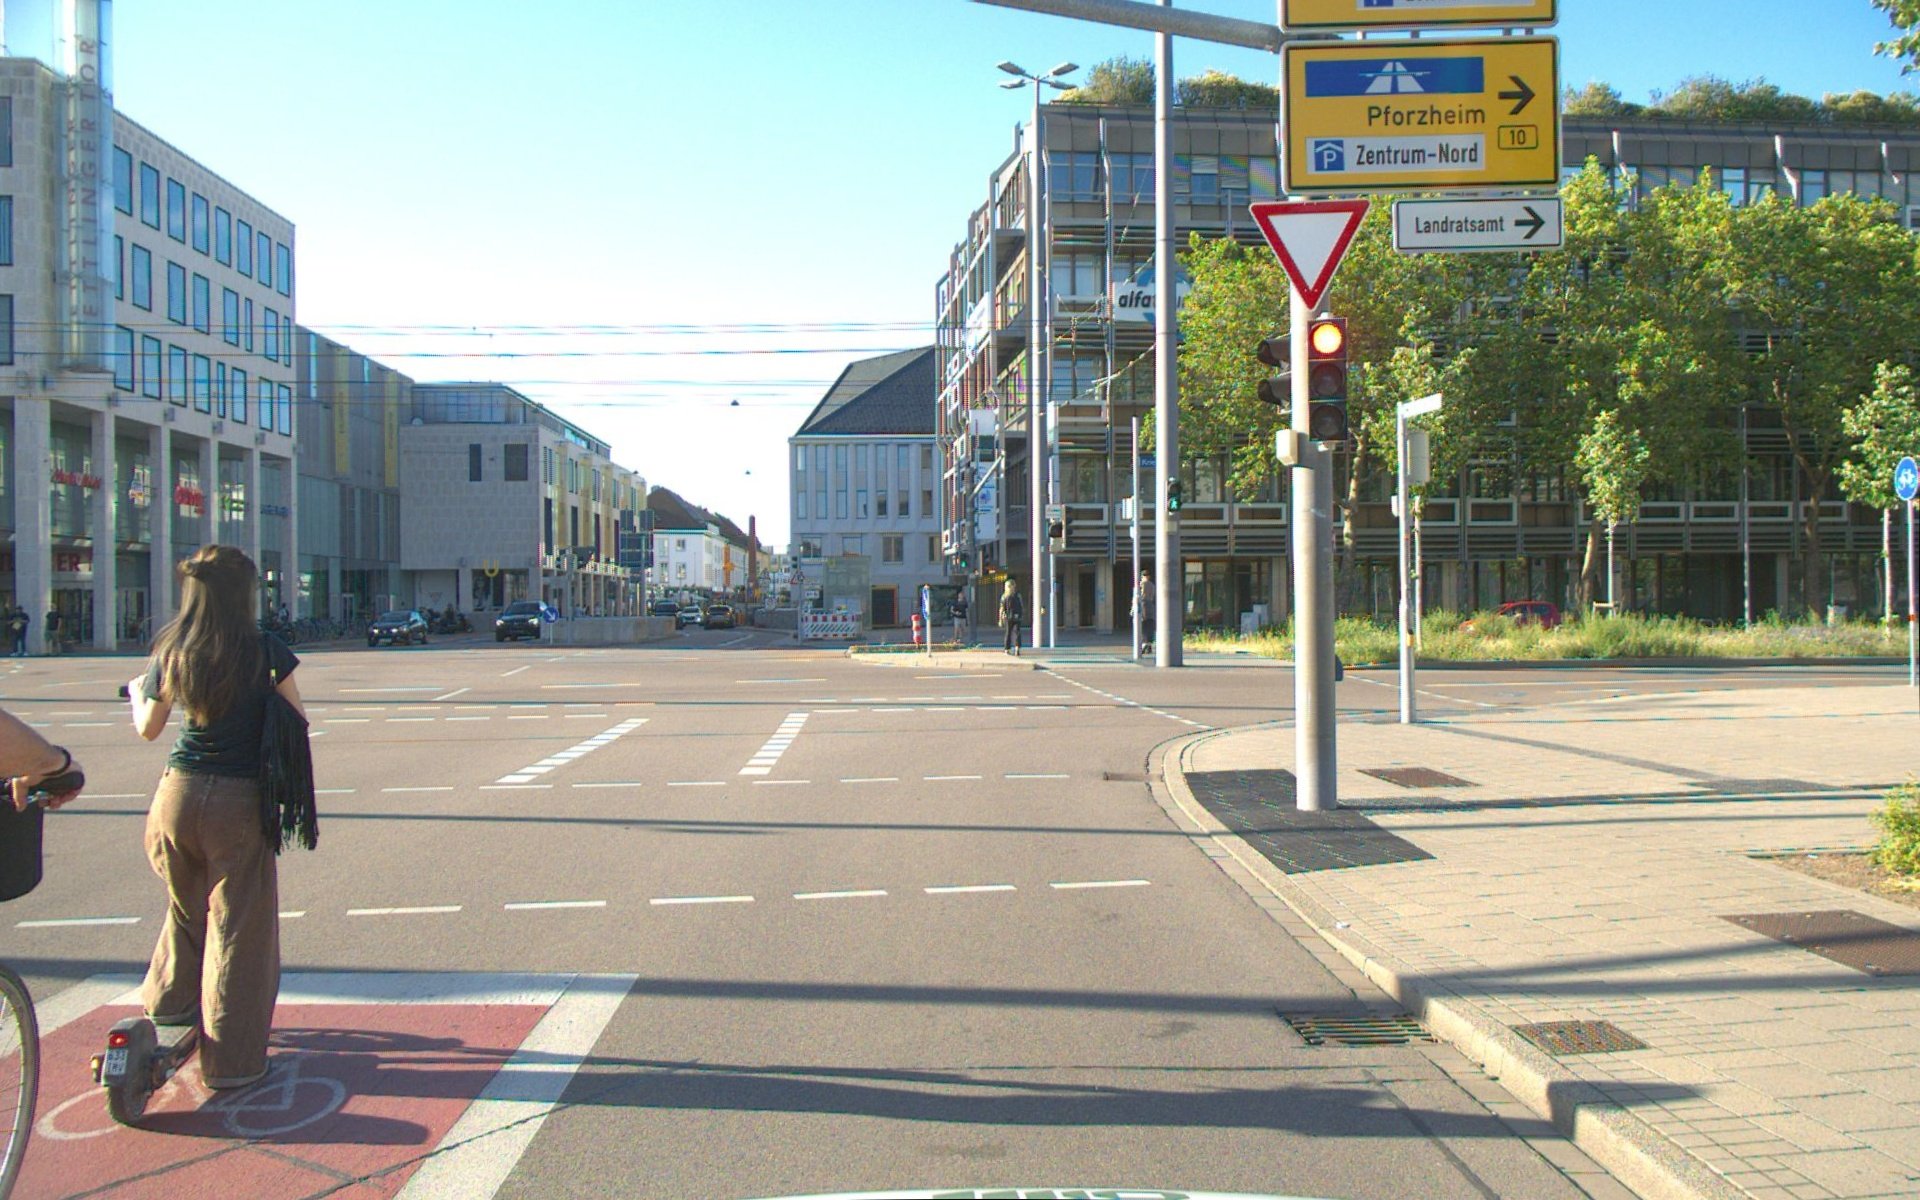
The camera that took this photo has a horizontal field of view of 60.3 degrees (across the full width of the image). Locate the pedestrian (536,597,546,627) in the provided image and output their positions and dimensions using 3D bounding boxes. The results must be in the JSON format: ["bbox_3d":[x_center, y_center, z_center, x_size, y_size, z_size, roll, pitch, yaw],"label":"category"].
[{"bbox_3d":[-29.404,0.849,116.061,0.606,2.049,0.476,1,-1,-16],"label":"pedestrian"}]

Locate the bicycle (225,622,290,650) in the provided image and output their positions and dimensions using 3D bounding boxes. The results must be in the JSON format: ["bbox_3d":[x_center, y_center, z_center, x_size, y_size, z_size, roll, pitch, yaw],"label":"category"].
[{"bbox_3d":[-29.483,1.509,69.450,2.417,1.130,0.684,-1,0,-1],"label":"bicycle"}]

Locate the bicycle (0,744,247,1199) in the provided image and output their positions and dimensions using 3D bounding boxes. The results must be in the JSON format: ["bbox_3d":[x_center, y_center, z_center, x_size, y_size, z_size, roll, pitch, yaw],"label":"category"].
[{"bbox_3d":[-1.972,0.897,2.932,0.692,1.113,1.799,-1,0,-2],"label":"bicycle"}]

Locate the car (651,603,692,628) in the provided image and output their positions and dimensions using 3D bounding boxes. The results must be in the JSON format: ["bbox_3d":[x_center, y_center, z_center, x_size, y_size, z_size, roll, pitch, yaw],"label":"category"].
[{"bbox_3d":[-20.784,1.124,119.286,2.130,1.722,5.485,0,-1,-1],"label":"car"}]

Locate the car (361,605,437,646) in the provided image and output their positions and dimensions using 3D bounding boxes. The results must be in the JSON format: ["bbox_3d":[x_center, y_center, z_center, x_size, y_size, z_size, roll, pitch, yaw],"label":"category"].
[{"bbox_3d":[-23.580,1.044,69.665,1.899,1.608,4.292,-1,0,-3],"label":"car"}]

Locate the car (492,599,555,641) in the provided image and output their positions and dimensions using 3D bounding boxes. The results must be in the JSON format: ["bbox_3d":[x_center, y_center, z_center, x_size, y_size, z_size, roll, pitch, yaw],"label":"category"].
[{"bbox_3d":[-18.658,0.844,70.825,1.900,1.707,4.289,-1,0,-5],"label":"car"}]

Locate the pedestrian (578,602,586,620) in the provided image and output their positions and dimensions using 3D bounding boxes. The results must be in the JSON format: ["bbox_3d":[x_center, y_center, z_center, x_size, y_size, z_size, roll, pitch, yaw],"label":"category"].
[{"bbox_3d":[-29.128,0.819,127.429,0.479,1.380,0.563,1,-1,-7],"label":"pedestrian"}]

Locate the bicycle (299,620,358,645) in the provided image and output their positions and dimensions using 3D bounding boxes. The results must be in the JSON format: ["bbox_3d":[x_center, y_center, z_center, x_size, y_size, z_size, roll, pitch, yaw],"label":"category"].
[{"bbox_3d":[-29.702,1.524,77.776,2.417,1.130,0.835,-1,0,0],"label":"bicycle"}]

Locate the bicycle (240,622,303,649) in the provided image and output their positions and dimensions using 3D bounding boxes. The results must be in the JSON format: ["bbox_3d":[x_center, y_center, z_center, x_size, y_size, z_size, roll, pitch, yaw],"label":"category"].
[{"bbox_3d":[-29.462,1.504,70.815,2.416,1.130,0.684,-1,0,1],"label":"bicycle"}]

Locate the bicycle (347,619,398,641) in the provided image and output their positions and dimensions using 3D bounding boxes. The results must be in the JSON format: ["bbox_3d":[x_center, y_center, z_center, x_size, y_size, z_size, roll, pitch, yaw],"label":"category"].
[{"bbox_3d":[-30.453,1.561,85.740,2.417,1.130,0.631,-1,0,0],"label":"bicycle"}]

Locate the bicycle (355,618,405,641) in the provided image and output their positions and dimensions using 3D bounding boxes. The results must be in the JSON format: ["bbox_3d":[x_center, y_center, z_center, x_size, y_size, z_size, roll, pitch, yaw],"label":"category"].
[{"bbox_3d":[-30.429,1.553,86.797,2.417,1.130,0.660,-1,0,0],"label":"bicycle"}]

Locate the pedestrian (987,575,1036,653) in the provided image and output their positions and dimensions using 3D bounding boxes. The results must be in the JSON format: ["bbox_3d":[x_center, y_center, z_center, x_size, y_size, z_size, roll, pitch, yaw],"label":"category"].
[{"bbox_3d":[1.070,0.284,34.424,0.879,1.576,0.922,-1,1,-7],"label":"pedestrian"}]

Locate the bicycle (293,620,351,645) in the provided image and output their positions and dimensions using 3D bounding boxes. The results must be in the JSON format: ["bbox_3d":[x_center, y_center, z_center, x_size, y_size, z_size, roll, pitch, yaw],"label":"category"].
[{"bbox_3d":[-29.676,1.521,76.972,2.417,1.130,0.684,-1,0,0],"label":"bicycle"}]

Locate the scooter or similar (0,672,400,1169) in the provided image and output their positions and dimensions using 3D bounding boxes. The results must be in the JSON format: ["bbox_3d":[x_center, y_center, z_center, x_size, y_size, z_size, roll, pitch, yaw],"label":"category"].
[{"bbox_3d":[-2.211,0.850,4.964,0.629,1.196,1.482,1,0,-4],"label":"scooter or similar"}]

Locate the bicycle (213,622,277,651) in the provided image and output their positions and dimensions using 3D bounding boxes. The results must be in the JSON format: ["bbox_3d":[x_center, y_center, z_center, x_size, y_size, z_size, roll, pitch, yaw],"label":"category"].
[{"bbox_3d":[-29.437,1.509,68.104,2.354,1.132,0.658,-1,0,-1],"label":"bicycle"}]

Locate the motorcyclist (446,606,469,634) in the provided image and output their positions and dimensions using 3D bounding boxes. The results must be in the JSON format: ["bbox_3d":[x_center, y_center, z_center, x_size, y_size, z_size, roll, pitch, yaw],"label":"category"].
[{"bbox_3d":[-29.580,1.167,97.357,1.115,1.602,0.915,1,-1,-8],"label":"motorcyclist"}]

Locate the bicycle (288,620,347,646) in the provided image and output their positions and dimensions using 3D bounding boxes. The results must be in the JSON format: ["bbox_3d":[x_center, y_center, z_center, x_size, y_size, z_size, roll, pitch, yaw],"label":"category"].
[{"bbox_3d":[-29.601,1.527,76.197,2.417,1.130,0.684,-1,0,0],"label":"bicycle"}]

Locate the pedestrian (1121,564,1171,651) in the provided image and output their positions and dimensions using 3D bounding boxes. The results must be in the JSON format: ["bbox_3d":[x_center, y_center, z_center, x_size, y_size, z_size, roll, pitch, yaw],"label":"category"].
[{"bbox_3d":[3.836,0.143,34.158,0.839,1.774,0.738,-1,1,-9],"label":"pedestrian"}]

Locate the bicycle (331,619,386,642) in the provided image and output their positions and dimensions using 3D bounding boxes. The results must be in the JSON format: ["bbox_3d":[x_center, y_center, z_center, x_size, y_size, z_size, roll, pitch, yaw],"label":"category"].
[{"bbox_3d":[-30.307,1.548,83.351,2.417,1.130,0.835,-1,0,0],"label":"bicycle"}]

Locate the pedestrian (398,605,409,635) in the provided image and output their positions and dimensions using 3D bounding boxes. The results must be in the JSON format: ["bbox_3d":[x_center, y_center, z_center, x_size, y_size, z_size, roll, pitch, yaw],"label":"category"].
[{"bbox_3d":[-37.905,1.367,112.683,0.606,2.049,0.476,1,-1,-16],"label":"pedestrian"}]

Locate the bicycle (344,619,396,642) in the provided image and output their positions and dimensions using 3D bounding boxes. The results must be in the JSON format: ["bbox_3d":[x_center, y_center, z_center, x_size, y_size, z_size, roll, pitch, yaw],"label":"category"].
[{"bbox_3d":[-30.304,1.550,85.013,2.417,1.130,0.660,-1,0,0],"label":"bicycle"}]

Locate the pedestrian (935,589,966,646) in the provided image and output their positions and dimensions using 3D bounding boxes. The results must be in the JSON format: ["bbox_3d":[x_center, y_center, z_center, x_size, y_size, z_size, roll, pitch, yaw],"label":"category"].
[{"bbox_3d":[-0.309,0.606,57.038,0.990,1.944,1.051,0,0,3],"label":"pedestrian"}]

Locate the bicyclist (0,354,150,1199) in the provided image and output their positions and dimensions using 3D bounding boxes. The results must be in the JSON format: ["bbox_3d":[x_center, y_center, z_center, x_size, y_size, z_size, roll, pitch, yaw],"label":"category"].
[{"bbox_3d":[-1.982,0.432,2.959,0.685,1.698,0.786,-1,0,-3],"label":"bicyclist"}]

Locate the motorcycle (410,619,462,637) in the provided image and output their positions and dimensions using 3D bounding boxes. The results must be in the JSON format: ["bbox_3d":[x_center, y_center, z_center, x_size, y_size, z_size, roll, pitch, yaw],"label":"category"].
[{"bbox_3d":[-29.737,1.583,93.887,2.617,1.013,0.915,1,0,-8],"label":"motorcycle"}]

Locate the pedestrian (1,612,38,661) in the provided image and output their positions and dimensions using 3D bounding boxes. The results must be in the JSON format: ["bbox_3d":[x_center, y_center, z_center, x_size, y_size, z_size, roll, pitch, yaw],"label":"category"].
[{"bbox_3d":[-33.017,1.260,58.046,0.998,1.680,0.935,0,0,-41],"label":"pedestrian"}]

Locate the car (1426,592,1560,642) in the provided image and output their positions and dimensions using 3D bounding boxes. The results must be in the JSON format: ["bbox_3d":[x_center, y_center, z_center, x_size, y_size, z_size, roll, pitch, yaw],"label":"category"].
[{"bbox_3d":[17.680,0.563,54.918,3.794,1.512,1.843,-1,-3,-8],"label":"car"}]

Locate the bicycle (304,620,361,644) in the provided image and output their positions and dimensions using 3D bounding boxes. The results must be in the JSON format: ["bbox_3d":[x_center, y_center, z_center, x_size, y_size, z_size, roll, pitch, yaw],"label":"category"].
[{"bbox_3d":[-30.347,1.529,79.990,2.417,1.130,0.835,-1,0,0],"label":"bicycle"}]

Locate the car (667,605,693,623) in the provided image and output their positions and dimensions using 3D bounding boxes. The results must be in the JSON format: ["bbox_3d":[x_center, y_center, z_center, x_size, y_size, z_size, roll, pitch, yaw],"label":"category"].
[{"bbox_3d":[-29.109,1.454,172.083,2.131,1.906,5.609,0,-1,-5],"label":"car"}]

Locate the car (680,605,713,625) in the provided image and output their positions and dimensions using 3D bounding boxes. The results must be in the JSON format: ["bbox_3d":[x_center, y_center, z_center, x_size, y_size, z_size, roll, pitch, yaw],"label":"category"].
[{"bbox_3d":[-22.637,1.312,142.308,2.130,1.722,5.612,0,-1,-3],"label":"car"}]

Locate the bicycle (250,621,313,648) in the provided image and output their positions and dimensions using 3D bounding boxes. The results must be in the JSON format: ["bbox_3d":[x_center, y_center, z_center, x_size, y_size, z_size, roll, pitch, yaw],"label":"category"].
[{"bbox_3d":[-29.382,1.494,71.625,2.417,1.130,0.684,-1,0,0],"label":"bicycle"}]

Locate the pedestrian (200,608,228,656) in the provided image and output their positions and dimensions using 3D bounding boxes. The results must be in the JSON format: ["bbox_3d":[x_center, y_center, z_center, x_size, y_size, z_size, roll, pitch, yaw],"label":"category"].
[{"bbox_3d":[-27.753,1.193,61.542,0.736,1.770,0.756,0,0,-3],"label":"pedestrian"}]

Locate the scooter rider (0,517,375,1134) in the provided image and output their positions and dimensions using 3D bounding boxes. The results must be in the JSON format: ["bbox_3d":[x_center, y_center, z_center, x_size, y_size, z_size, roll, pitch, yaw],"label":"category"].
[{"bbox_3d":[-2.184,0.575,4.788,0.629,1.571,1.116,1,0,-4],"label":"scooter rider"}]

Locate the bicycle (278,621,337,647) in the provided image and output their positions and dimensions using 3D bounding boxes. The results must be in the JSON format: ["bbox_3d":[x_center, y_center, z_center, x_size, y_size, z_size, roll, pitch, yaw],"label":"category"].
[{"bbox_3d":[-29.573,1.521,74.972,2.417,1.130,0.593,-1,0,0],"label":"bicycle"}]

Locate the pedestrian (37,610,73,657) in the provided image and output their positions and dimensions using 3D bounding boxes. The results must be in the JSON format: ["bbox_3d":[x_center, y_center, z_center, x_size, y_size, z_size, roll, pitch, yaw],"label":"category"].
[{"bbox_3d":[-31.262,1.153,57.159,0.938,1.598,0.829,0,0,-42],"label":"pedestrian"}]

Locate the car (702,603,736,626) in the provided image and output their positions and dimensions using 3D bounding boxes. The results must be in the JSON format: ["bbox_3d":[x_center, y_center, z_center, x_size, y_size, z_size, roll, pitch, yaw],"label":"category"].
[{"bbox_3d":[-15.749,0.977,108.042,1.898,1.475,4.258,0,-1,-4],"label":"car"}]

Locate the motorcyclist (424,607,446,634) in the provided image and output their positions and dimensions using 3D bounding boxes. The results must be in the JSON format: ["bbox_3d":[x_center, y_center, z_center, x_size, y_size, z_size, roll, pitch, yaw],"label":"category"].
[{"bbox_3d":[-29.810,1.176,93.868,1.017,1.497,0.915,1,0,-8],"label":"motorcyclist"}]

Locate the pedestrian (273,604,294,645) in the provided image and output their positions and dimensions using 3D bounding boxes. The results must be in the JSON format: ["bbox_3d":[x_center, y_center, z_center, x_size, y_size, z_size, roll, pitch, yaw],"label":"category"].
[{"bbox_3d":[-33.531,1.205,81.987,0.933,2.017,1.000,0,0,-25],"label":"pedestrian"}]

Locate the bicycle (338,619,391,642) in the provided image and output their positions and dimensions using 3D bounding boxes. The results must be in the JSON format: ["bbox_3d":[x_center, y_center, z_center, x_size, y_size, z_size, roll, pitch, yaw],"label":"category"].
[{"bbox_3d":[-30.330,1.541,84.236,2.417,1.130,0.660,-1,0,0],"label":"bicycle"}]

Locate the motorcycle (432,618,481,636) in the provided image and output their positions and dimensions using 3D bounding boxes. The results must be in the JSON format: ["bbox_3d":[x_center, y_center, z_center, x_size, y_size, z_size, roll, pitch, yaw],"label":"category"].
[{"bbox_3d":[-29.610,1.600,97.338,2.617,1.013,0.915,1,0,-8],"label":"motorcycle"}]

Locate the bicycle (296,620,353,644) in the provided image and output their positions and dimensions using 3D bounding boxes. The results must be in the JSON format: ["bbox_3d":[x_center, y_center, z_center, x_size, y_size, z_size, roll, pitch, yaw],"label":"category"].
[{"bbox_3d":[-30.234,1.525,78.741,2.417,1.130,0.684,-1,0,0],"label":"bicycle"}]

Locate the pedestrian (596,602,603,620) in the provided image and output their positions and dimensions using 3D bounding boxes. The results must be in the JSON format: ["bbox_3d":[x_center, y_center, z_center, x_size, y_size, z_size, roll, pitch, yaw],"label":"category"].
[{"bbox_3d":[-27.854,0.842,127.773,0.479,1.380,0.563,1,-1,-7],"label":"pedestrian"}]

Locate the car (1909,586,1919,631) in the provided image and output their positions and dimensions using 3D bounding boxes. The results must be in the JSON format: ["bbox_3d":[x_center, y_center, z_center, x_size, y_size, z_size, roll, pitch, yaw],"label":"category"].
[{"bbox_3d":[38.419,0.321,62.021,4.764,1.709,1.996,0,1,-10],"label":"car"}]
